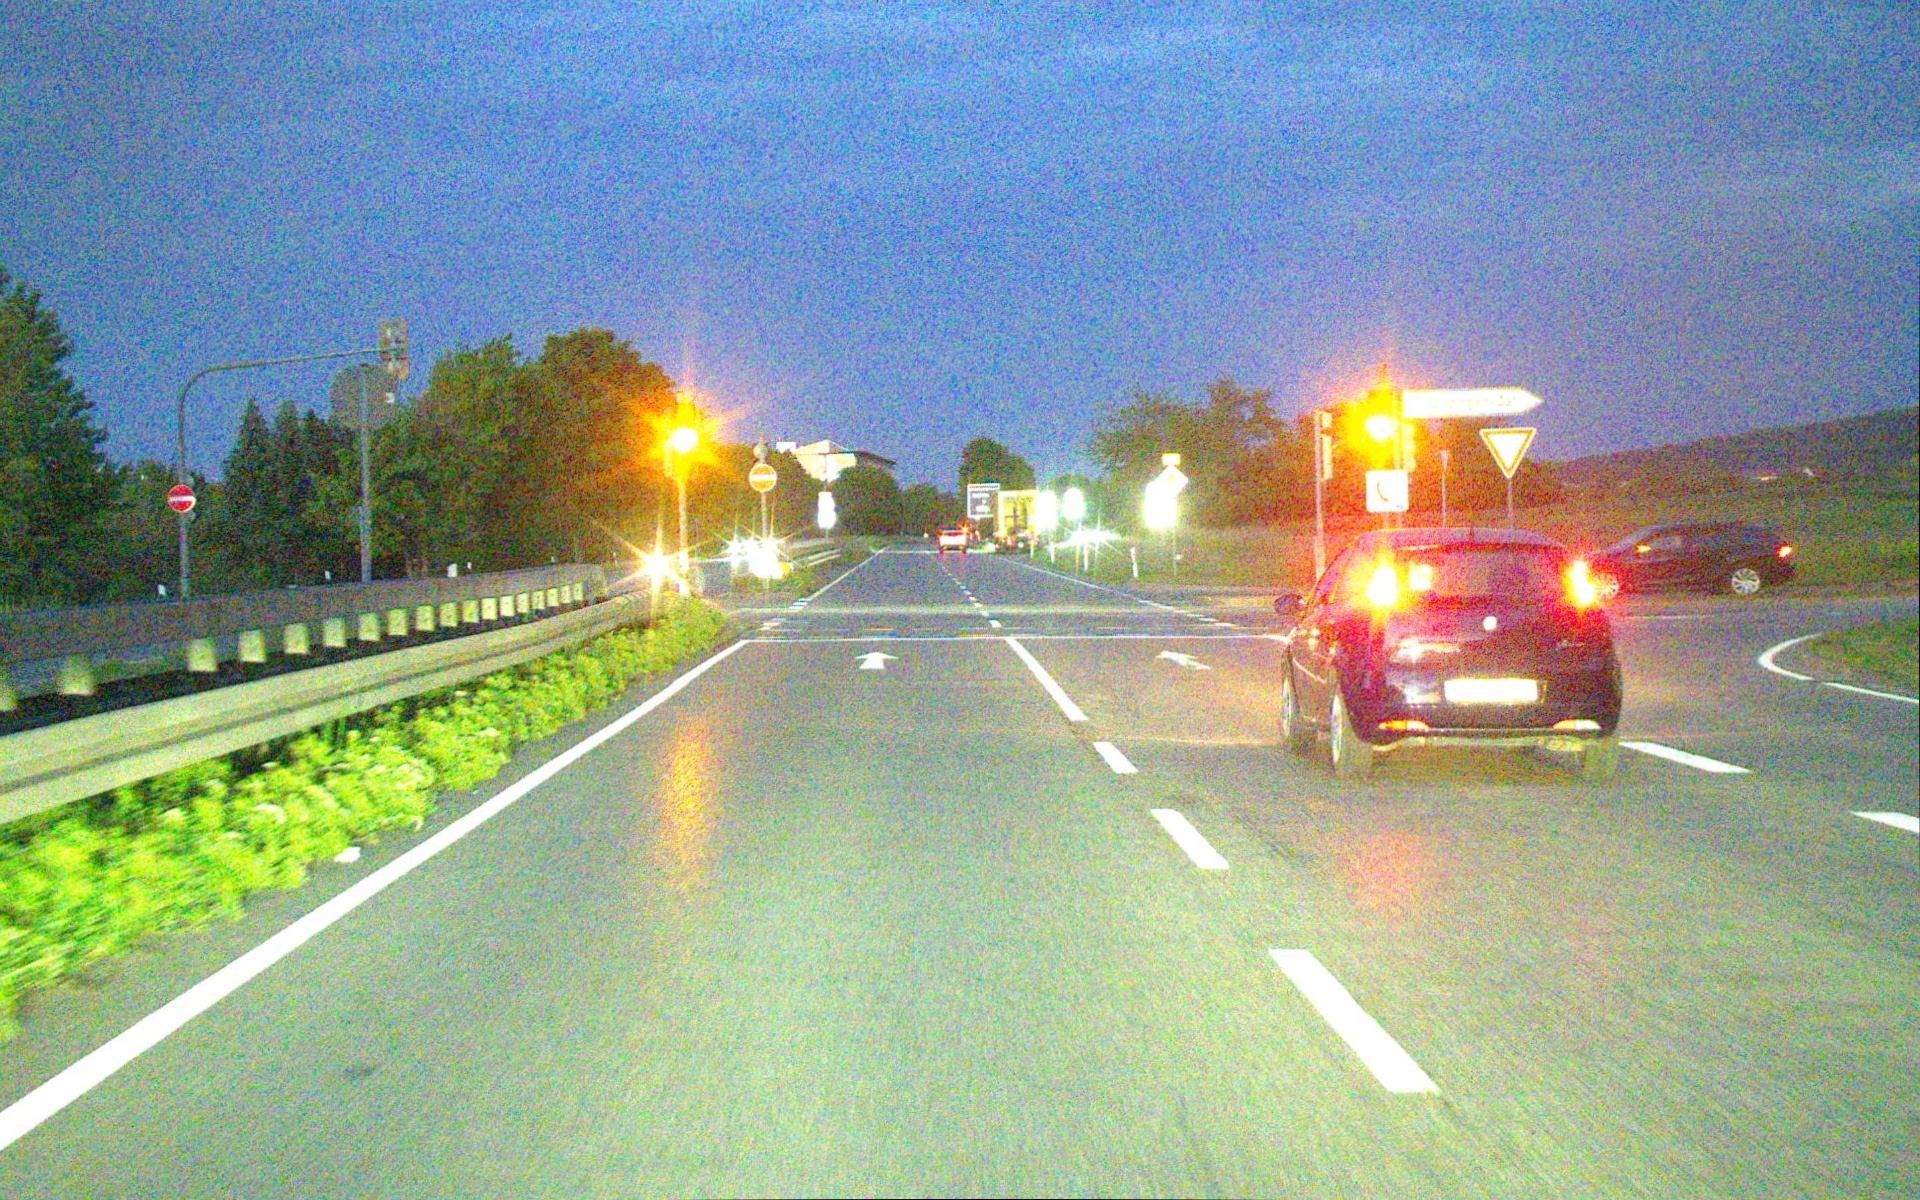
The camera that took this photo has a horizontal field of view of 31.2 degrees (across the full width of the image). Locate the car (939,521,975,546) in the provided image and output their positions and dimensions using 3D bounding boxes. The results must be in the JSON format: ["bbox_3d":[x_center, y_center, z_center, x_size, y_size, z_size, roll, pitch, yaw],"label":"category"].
[{"bbox_3d":[-0.223,-4.588,237.441,2.273,1.626,4.001,-1,1,-2],"label":"car"}]

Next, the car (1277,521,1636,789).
[{"bbox_3d":[3.001,0.270,21.519,1.670,1.515,4.106,0,1,0],"label":"car"}]

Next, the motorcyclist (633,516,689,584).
[{"bbox_3d":[-7.096,-1.185,81.519,1.137,1.579,0.972,-2,1,4],"label":"motorcyclist"}]

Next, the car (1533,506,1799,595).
[{"bbox_3d":[13.397,-0.955,65.393,4.600,1.515,2.000,-2,1,0],"label":"car"}]

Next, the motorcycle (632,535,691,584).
[{"bbox_3d":[-7.074,-0.976,81.534,0.979,1.095,2.508,-2,1,4],"label":"motorcycle"}]
